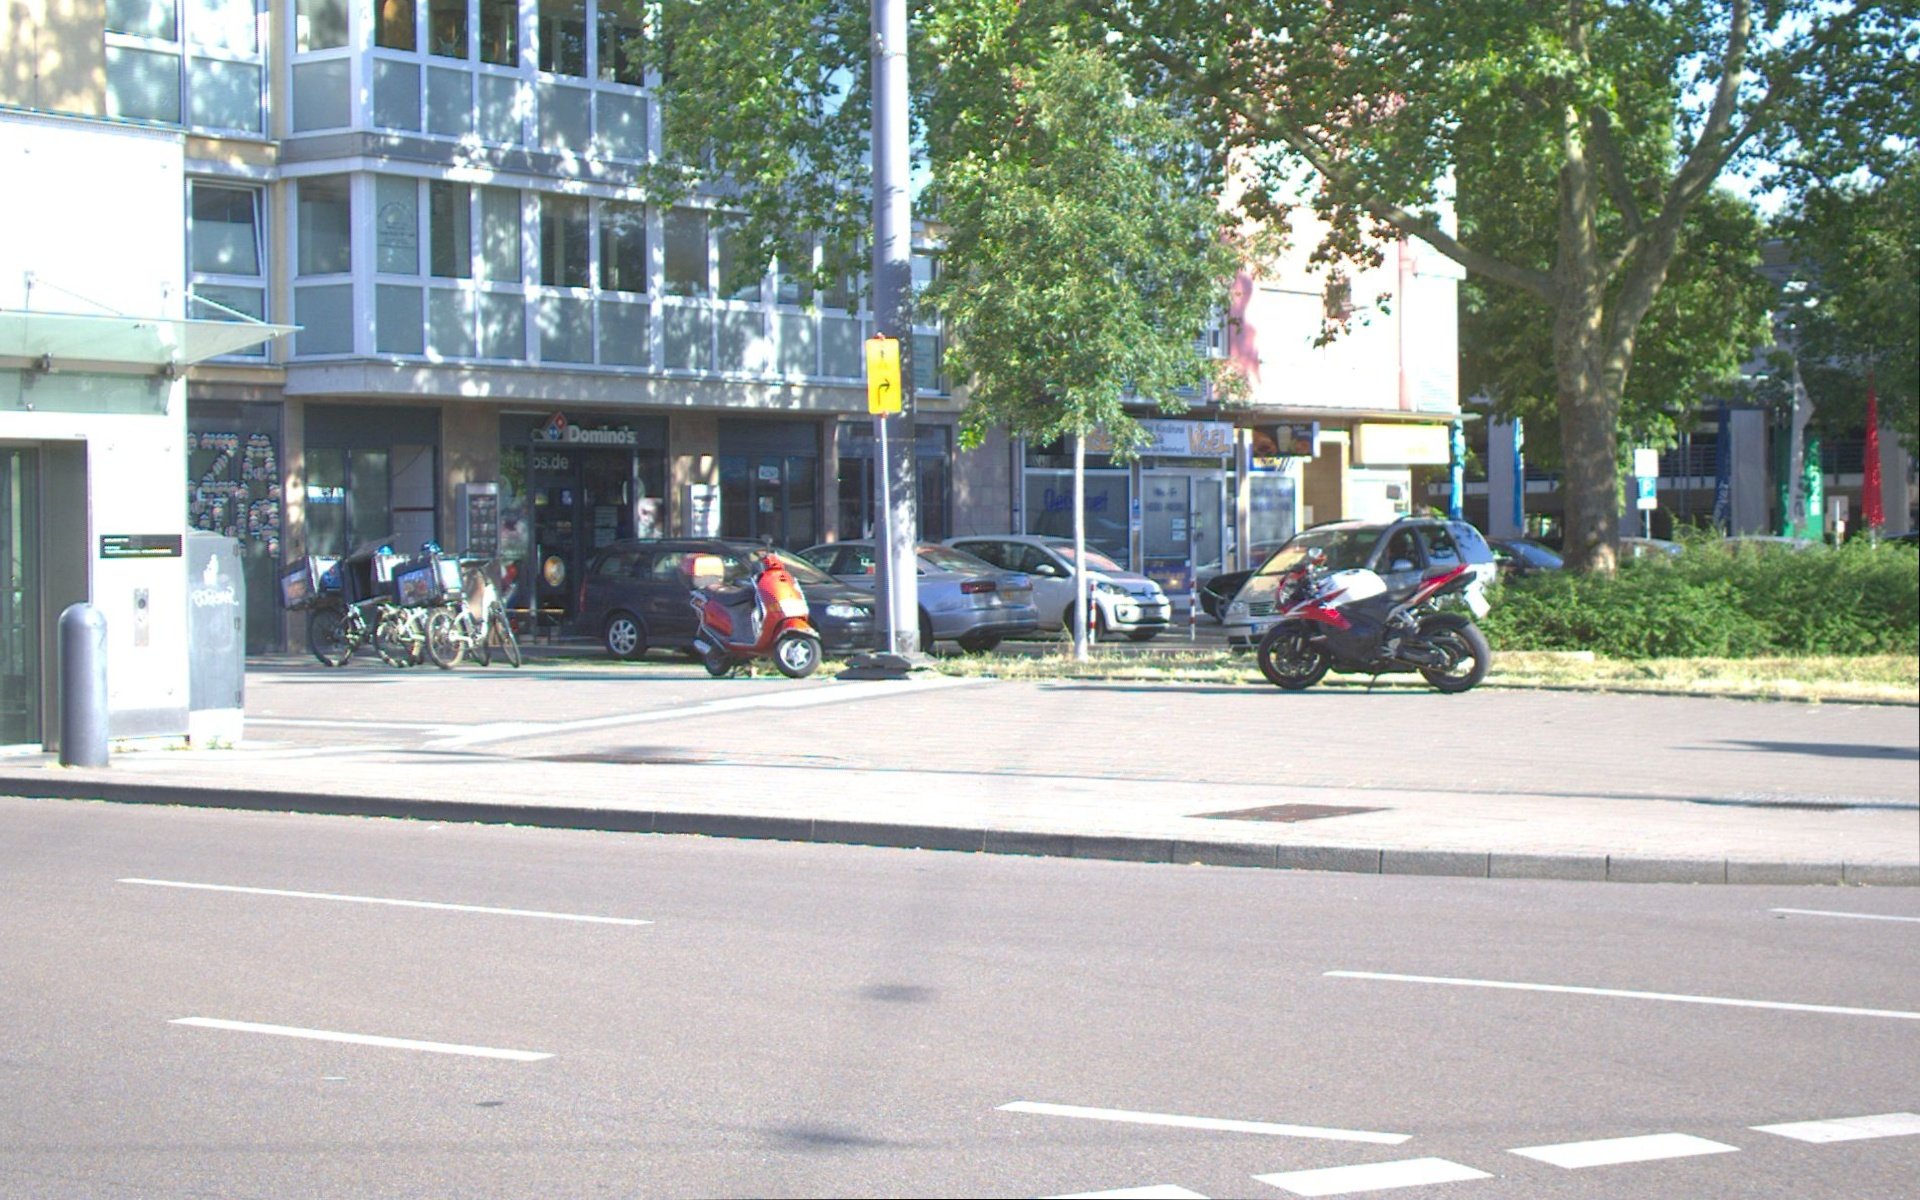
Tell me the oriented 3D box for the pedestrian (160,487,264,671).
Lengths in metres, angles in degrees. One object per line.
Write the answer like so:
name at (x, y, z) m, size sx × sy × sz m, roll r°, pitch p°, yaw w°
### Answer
pedestrian at (-7.117, -0.210, 32.699) m, size 0.751 × 1.722 × 0.698 m, roll -1°, pitch 1°, yaw -33°

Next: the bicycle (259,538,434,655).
bicycle at (-6.947, -0.054, 39.027) m, size 0.814 × 1.244 × 1.995 m, roll 0°, pitch 2°, yaw 30°

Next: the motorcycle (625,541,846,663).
motorcycle at (-2.041, 0.022, 31.172) m, size 1.801 × 1.043 × 0.879 m, roll -1°, pitch 2°, yaw 34°

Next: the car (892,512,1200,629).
car at (1.198, -0.456, 48.663) m, size 3.996 × 1.415 × 1.853 m, roll 4°, pitch 4°, yaw 36°

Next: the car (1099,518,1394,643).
car at (4.280, -0.329, 51.615) m, size 3.996 × 1.629 × 1.853 m, roll 4°, pitch 4°, yaw 36°

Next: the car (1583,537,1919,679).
car at (9.488, 0.120, 40.701) m, size 3.990 × 1.505 × 1.798 m, roll -2°, pitch -3°, yaw 15°

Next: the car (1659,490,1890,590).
car at (16.112, -1.220, 68.100) m, size 3.996 × 1.773 × 1.853 m, roll 4°, pitch 4°, yaw 36°

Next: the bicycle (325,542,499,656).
bicycle at (-6.140, -0.026, 38.611) m, size 0.814 × 1.196 × 1.995 m, roll 0°, pitch 2°, yaw 30°

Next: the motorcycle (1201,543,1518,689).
motorcycle at (3.138, 0.109, 26.982) m, size 2.277 × 1.070 × 1.040 m, roll 0°, pitch 3°, yaw 21°

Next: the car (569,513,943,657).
car at (-2.493, -0.218, 41.605) m, size 4.222 × 1.477 × 1.853 m, roll 3°, pitch 4°, yaw 33°

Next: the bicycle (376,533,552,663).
bicycle at (-5.435, -0.035, 37.781) m, size 0.814 × 1.341 × 1.995 m, roll 0°, pitch 2°, yaw 30°

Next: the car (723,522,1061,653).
car at (-0.893, -0.200, 43.841) m, size 3.996 × 1.415 × 1.853 m, roll 4°, pitch 4°, yaw 36°

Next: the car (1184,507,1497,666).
car at (4.588, -0.191, 41.010) m, size 1.919 × 1.692 × 3.992 m, roll -2°, pitch 1°, yaw 36°

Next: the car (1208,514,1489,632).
car at (6.113, -0.460, 54.311) m, size 3.996 × 1.629 × 1.853 m, roll 4°, pitch 4°, yaw 36°
